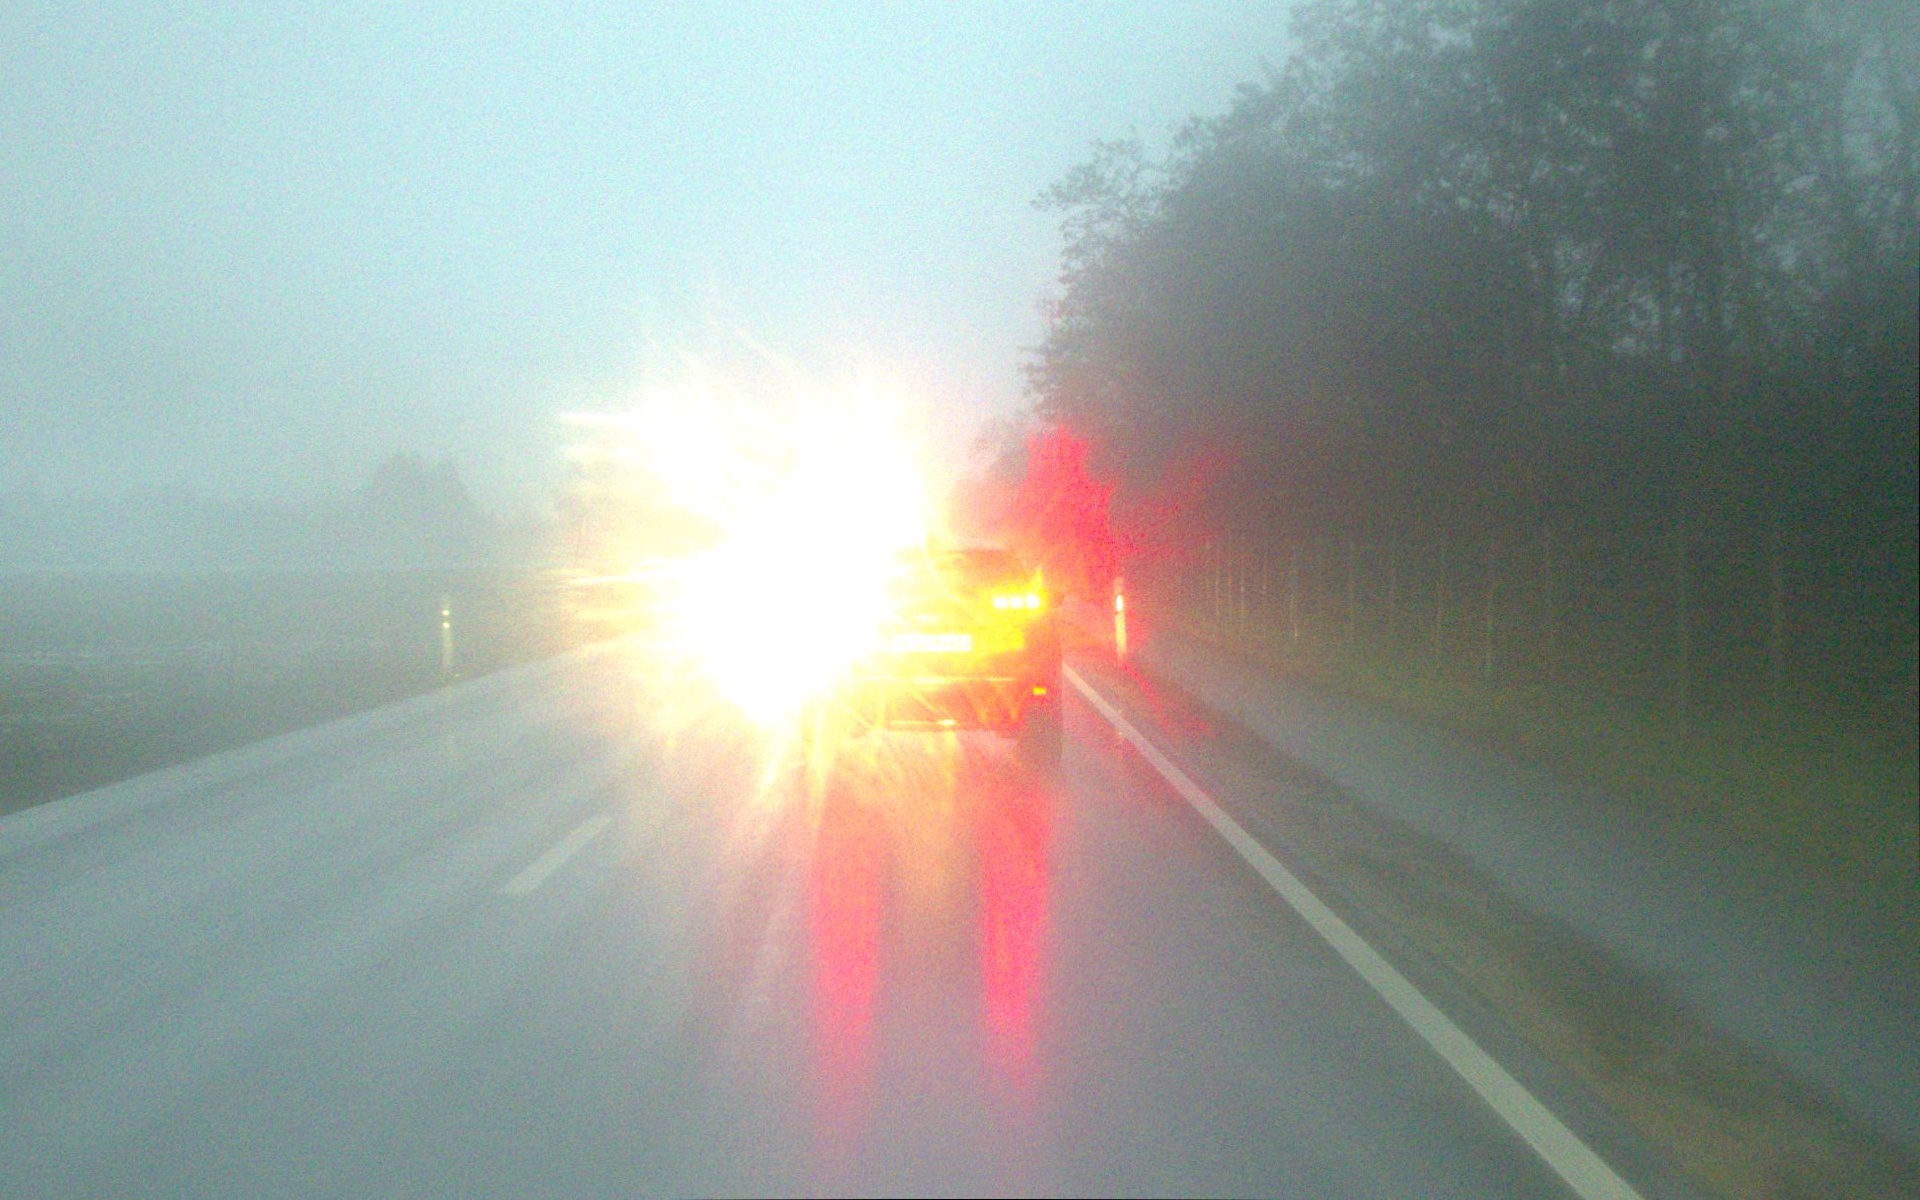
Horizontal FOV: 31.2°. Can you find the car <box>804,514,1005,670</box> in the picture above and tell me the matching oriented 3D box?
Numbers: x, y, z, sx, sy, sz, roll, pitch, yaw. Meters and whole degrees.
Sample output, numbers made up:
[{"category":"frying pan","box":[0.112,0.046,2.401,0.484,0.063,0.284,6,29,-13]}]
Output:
[{"category":"car","box":[-0.710,-0.141,47.996,2.592,2.007,5.804,1,1,0]}]

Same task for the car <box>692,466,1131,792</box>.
[{"category":"car","box":[-0.297,0.153,25.303,2.820,2.070,5.804,1,1,0]}]

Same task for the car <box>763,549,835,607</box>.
[{"category":"car","box":[-4.238,-0.599,91.229,1.728,1.408,4.023,-3,1,-1]}]
